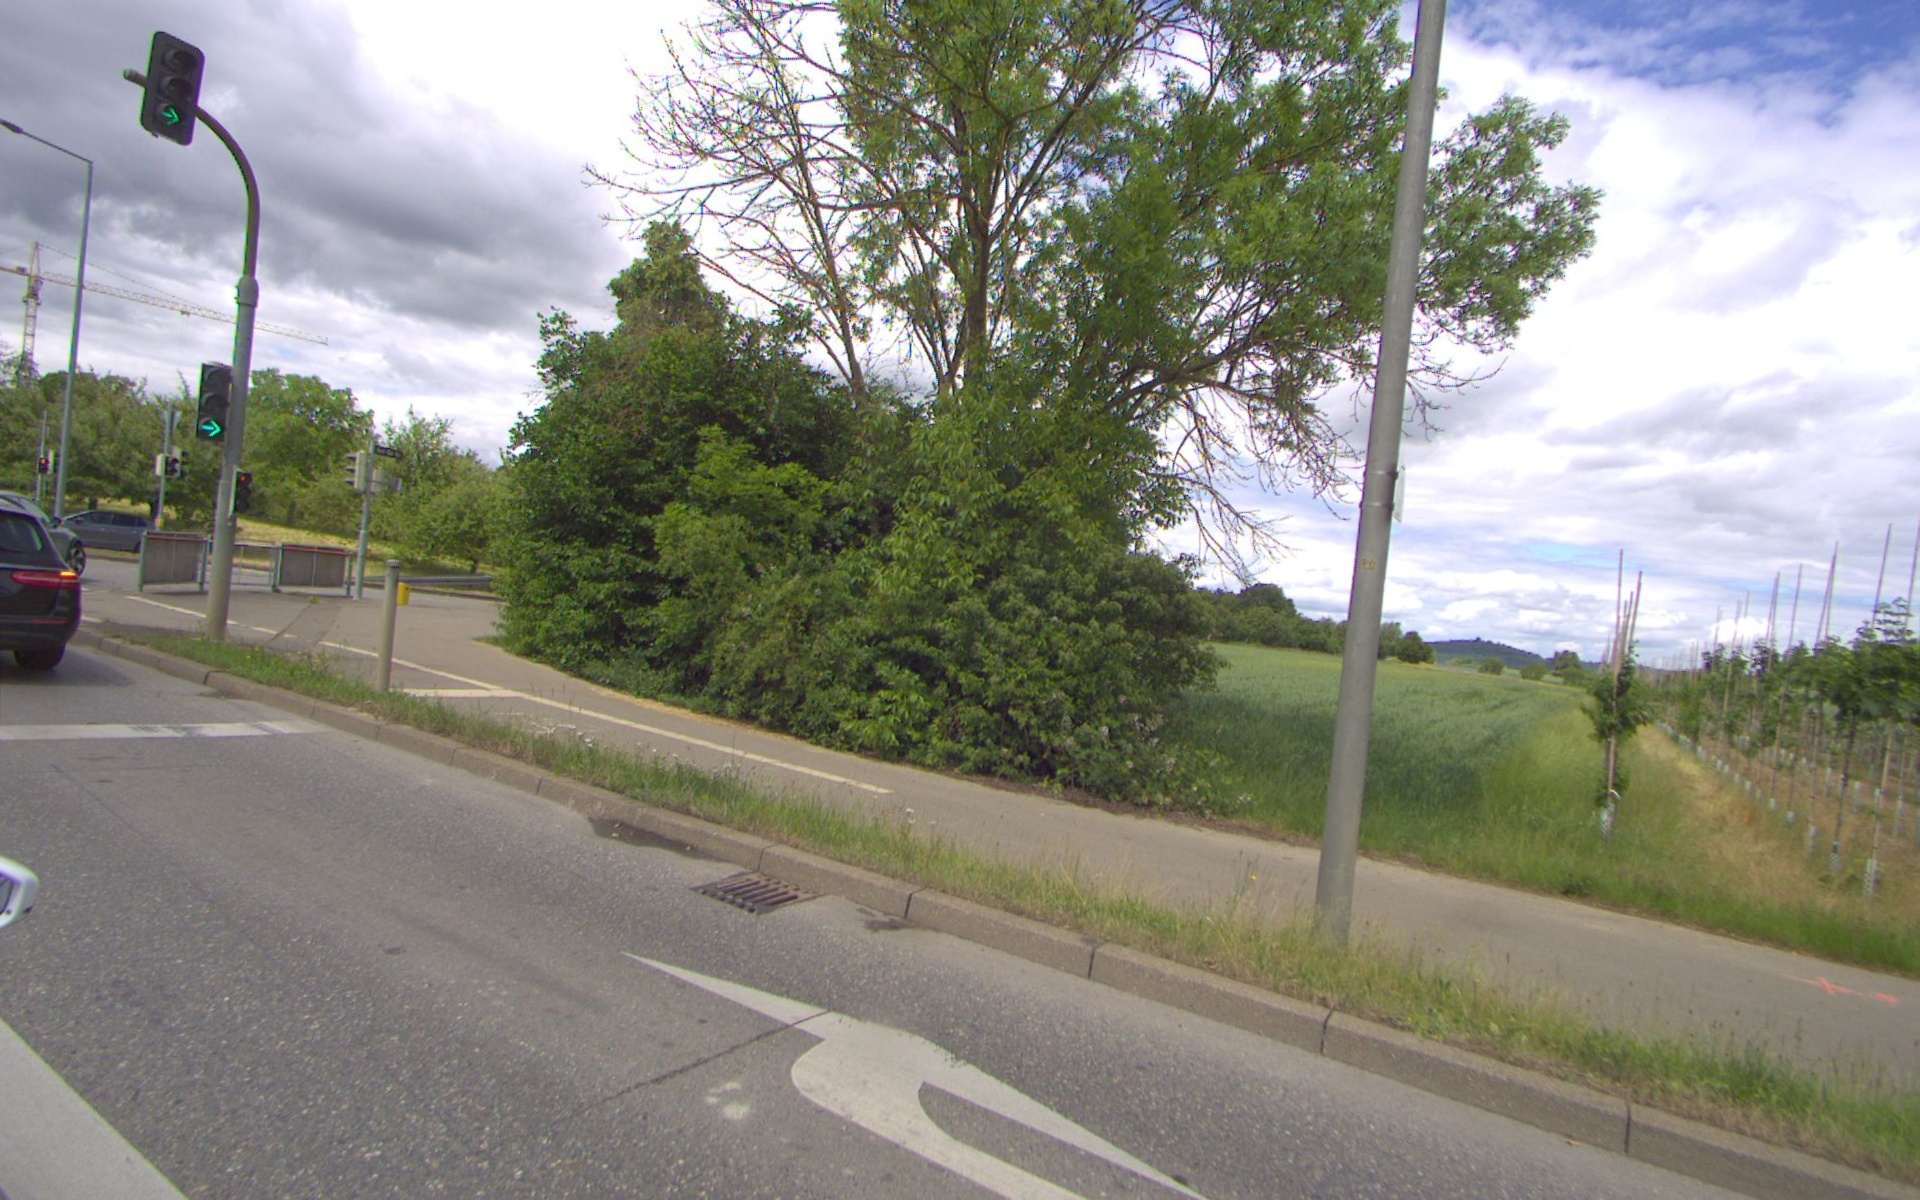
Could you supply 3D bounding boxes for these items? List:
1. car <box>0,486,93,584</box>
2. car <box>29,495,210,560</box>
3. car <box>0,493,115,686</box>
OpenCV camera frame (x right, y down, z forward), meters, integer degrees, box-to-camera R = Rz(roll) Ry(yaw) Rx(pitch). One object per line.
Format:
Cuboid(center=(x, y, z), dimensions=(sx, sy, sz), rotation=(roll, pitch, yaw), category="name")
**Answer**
Cuboid(center=(-16.413, -1.165, 16.544), dimensions=(1.844, 1.537, 4.422), rotation=(6, 0, -22), category="car")
Cuboid(center=(-28.370, -2.420, 34.077), dimensions=(1.970, 1.544, 4.303), rotation=(7, 0, 37), category="car")
Cuboid(center=(-9.683, -0.344, 8.869), dimensions=(5.114, 1.459, 1.874), rotation=(7, 1, 32), category="car")
